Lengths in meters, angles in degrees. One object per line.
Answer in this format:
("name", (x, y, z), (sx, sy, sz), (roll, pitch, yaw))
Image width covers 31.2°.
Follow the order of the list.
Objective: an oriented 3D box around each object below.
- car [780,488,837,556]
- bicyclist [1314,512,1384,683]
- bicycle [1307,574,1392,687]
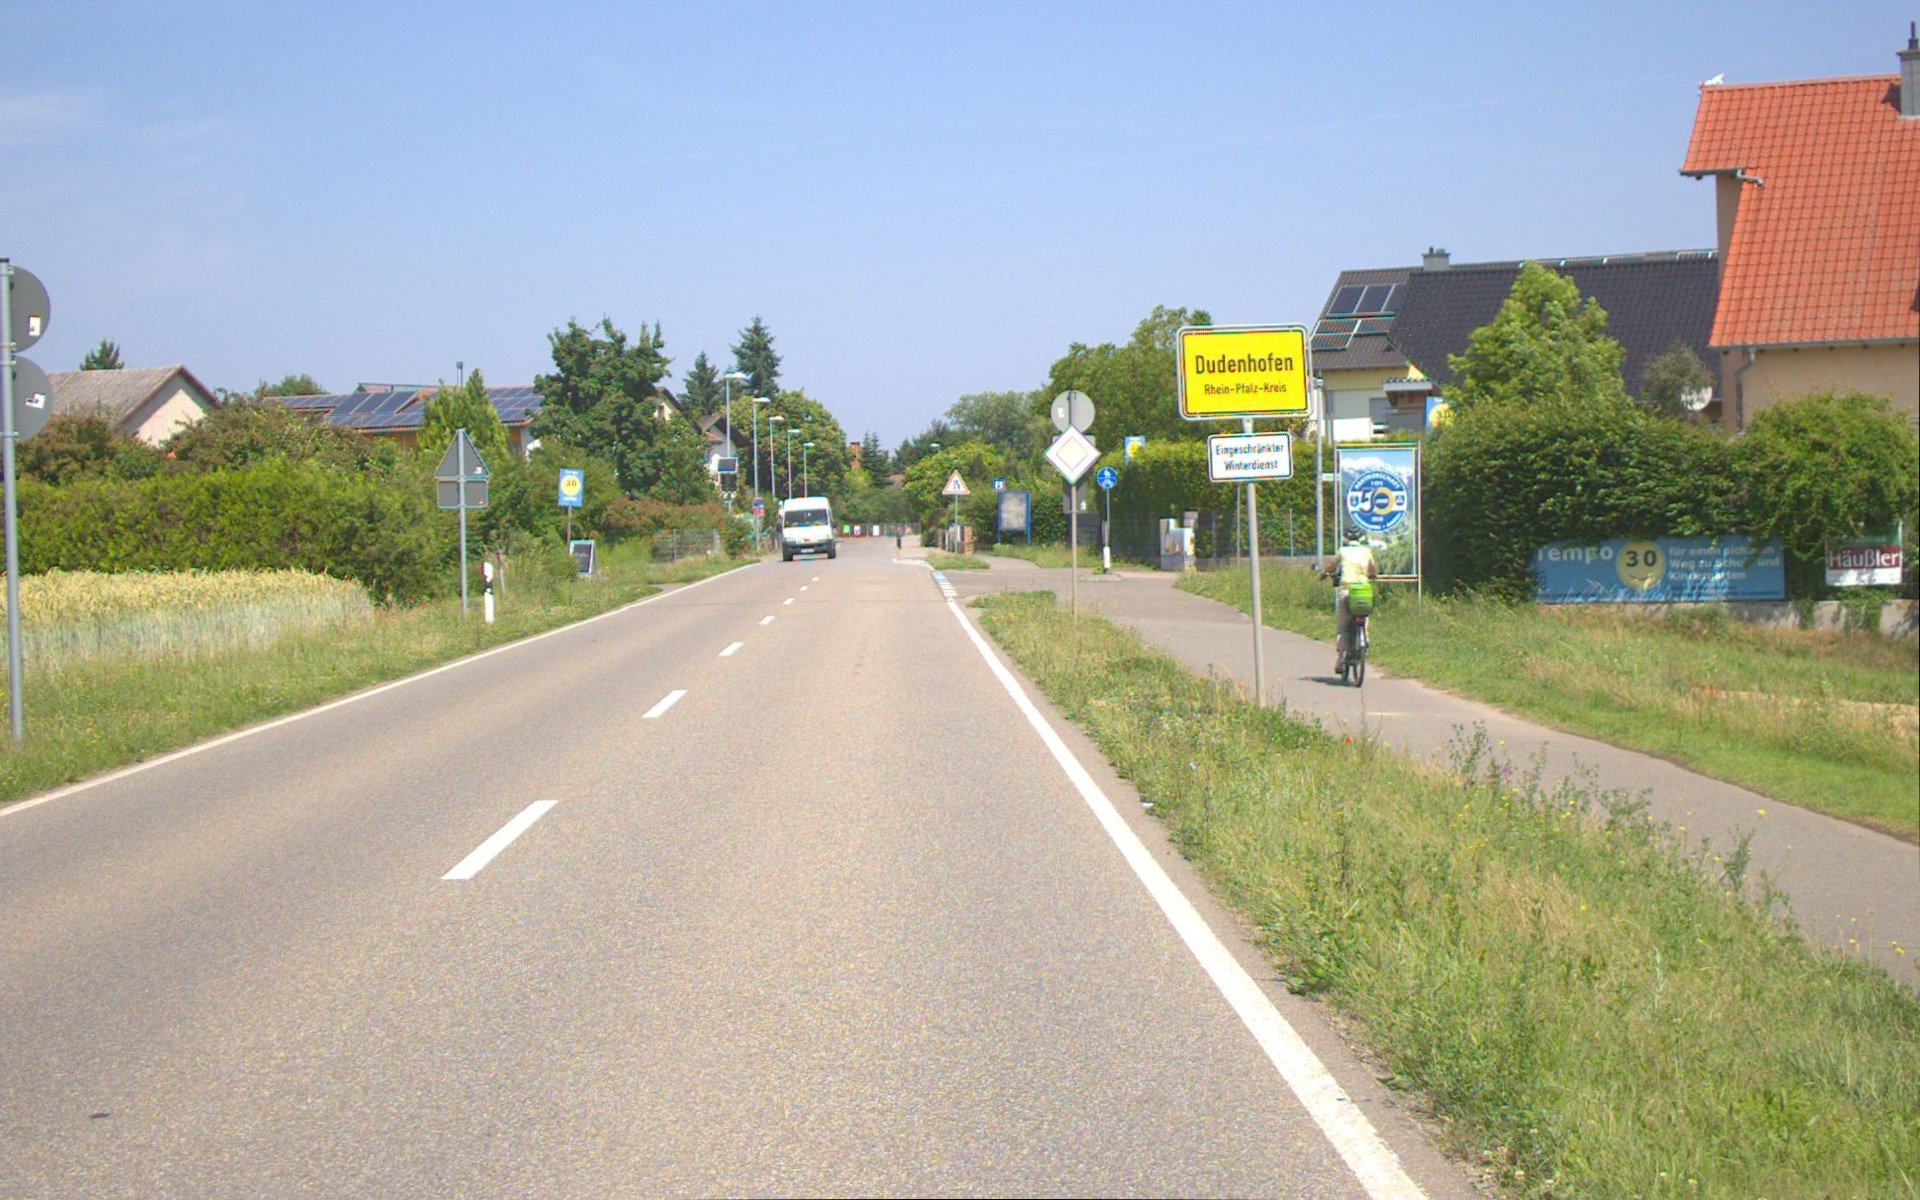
("car", (-5.953, -3.114, 135.757), (2.077, 2.533, 5.874), (-2, 2, -1))
("bicyclist", (4.371, -0.039, 38.651), (0.645, 1.883, 0.861), (0, 2, -2))
("bicycle", (4.366, 0.327, 38.651), (0.610, 1.154, 2.274), (0, 2, -2))
